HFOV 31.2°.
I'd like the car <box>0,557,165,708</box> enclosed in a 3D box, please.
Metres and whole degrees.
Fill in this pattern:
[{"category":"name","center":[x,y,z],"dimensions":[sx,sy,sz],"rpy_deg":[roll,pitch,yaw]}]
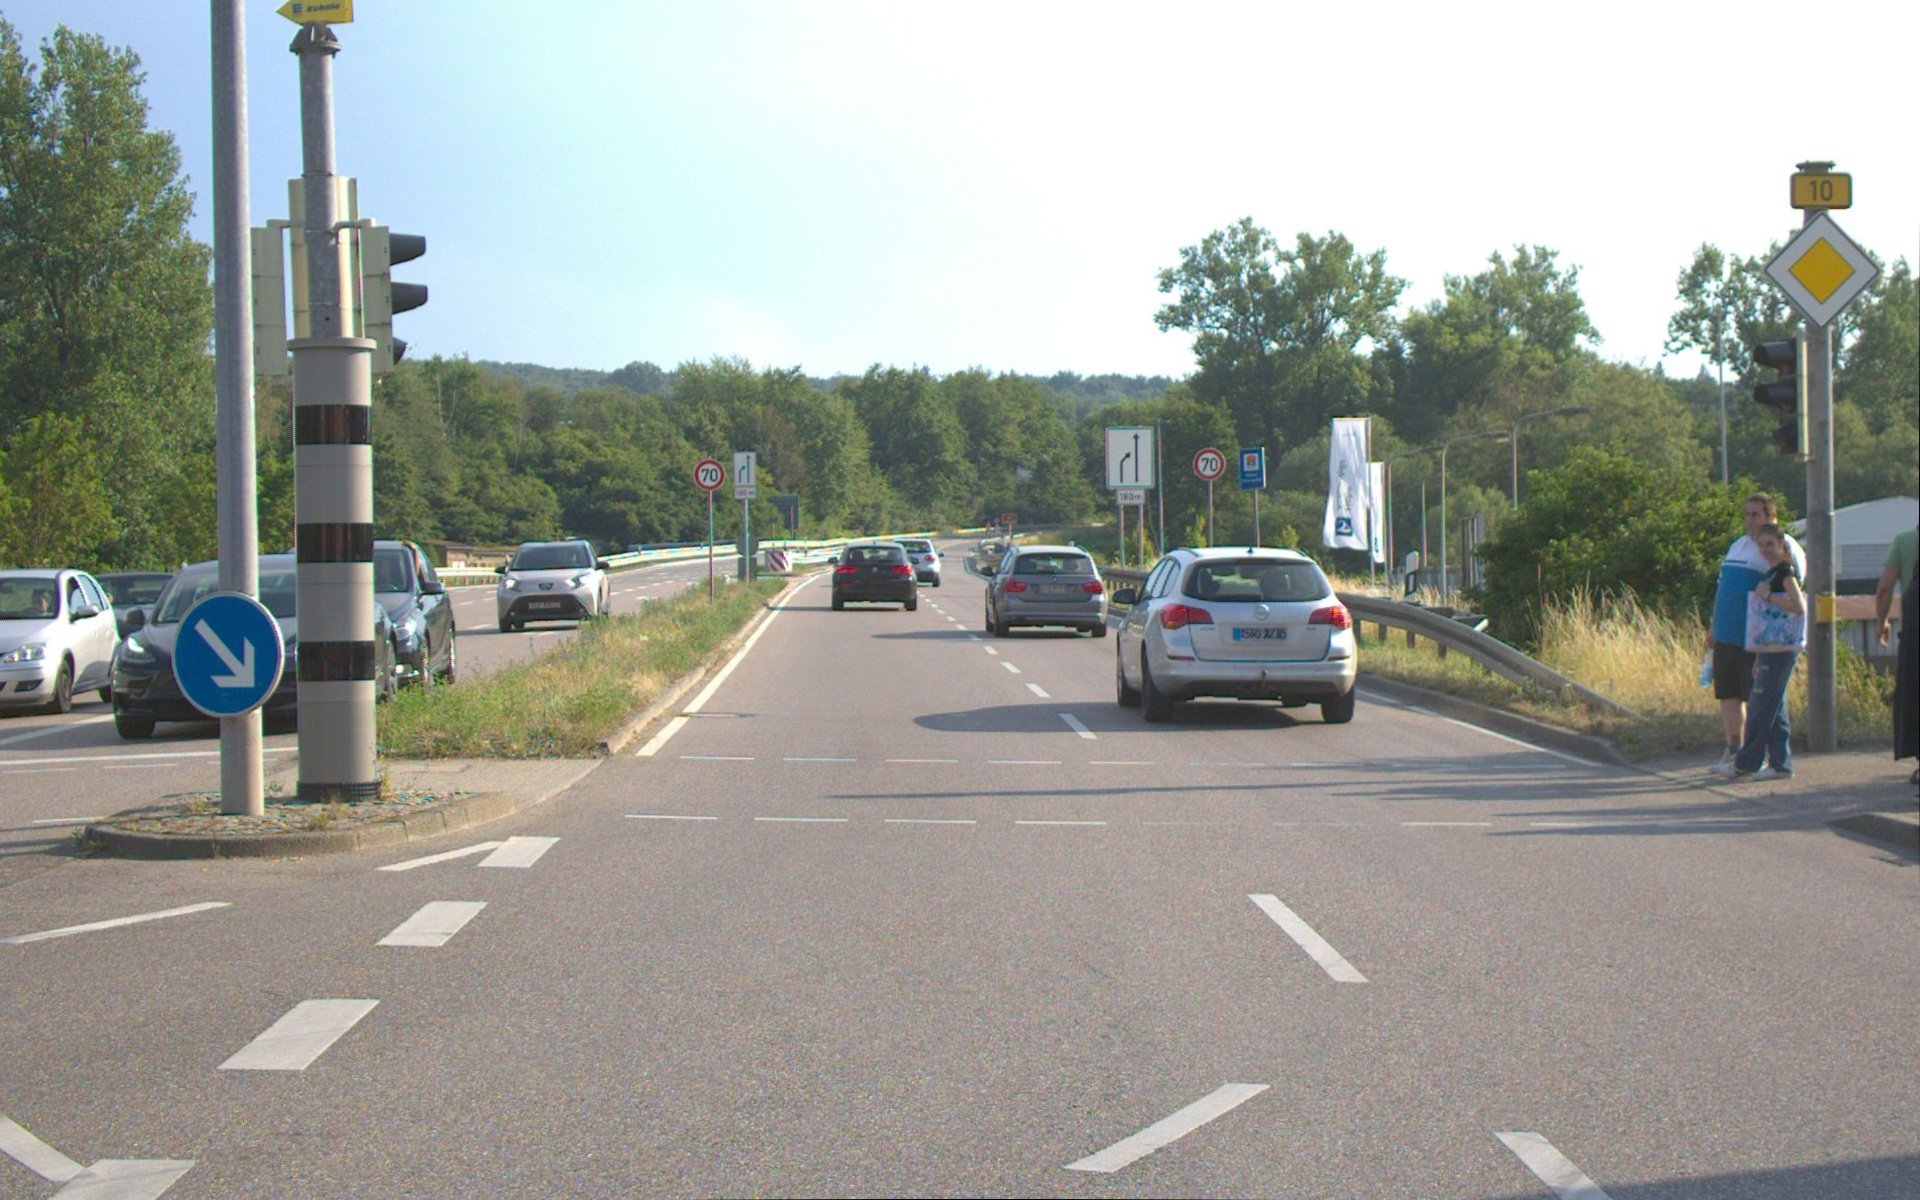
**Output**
[{"category":"car","center":[-9.428,0.315,34.771],"dimensions":[1.702,1.400,5.082],"rpy_deg":[-2,0,-2]}]

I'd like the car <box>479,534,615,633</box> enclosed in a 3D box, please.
[{"category":"car","center":[-6.729,-0.265,56.404],"dimensions":[1.780,1.515,4.000],"rpy_deg":[-2,0,-1]}]

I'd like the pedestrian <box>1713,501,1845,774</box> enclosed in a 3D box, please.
[{"category":"pedestrian","center":[5.196,0.235,21.829],"dimensions":[0.594,1.677,0.633],"rpy_deg":[-3,0,-2]}]

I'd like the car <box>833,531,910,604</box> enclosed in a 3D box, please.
[{"category":"car","center":[-1.825,-0.671,72.031],"dimensions":[1.492,1.471,3.359],"rpy_deg":[1,0,0]}]

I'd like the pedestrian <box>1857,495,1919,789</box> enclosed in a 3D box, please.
[{"category":"pedestrian","center":[5.814,0.244,20.825],"dimensions":[0.531,1.743,0.537],"rpy_deg":[-4,0,4]}]

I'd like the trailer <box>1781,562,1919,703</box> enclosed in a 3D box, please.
[{"category":"trailer","center":[24.220,0.822,83.335],"dimensions":[7.880,3.311,3.358],"rpy_deg":[1,0,4]}]

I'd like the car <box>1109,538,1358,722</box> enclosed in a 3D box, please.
[{"category":"car","center":[2.330,0.241,30.235],"dimensions":[1.809,1.481,4.000],"rpy_deg":[1,0,-1]}]

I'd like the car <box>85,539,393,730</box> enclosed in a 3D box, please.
[{"category":"car","center":[-6.035,0.262,29.303],"dimensions":[1.790,1.461,4.930],"rpy_deg":[-1,0,-3]}]

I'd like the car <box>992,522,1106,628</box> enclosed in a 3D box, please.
[{"category":"car","center":[1.365,-0.382,54.242],"dimensions":[1.667,1.568,4.000],"rpy_deg":[1,0,0]}]

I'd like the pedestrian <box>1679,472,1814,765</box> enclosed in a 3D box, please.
[{"category":"pedestrian","center":[5.157,0.117,22.590],"dimensions":[0.618,1.877,0.861],"rpy_deg":[-1,0,-2]}]

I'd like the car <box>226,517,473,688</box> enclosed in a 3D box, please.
[{"category":"car","center":[-6.185,-0.033,35.308],"dimensions":[1.780,1.532,4.572],"rpy_deg":[-2,2,-1]}]

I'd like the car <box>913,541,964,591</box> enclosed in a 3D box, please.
[{"category":"car","center":[-0.639,-1.024,105.161],"dimensions":[1.492,1.471,3.359],"rpy_deg":[1,0,0]}]

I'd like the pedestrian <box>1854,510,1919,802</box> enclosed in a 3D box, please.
[{"category":"pedestrian","center":[5.434,0.300,19.321],"dimensions":[0.572,1.609,0.623],"rpy_deg":[-2,0,-5]}]

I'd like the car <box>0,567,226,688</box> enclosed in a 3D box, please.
[{"category":"car","center":[-10.262,0.296,41.910],"dimensions":[1.702,1.279,4.819],"rpy_deg":[-2,1,-2]}]

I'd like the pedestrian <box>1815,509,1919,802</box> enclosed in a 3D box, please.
[{"category":"pedestrian","center":[5.378,0.320,20.032],"dimensions":[0.572,1.672,0.623],"rpy_deg":[1,0,-5]}]
